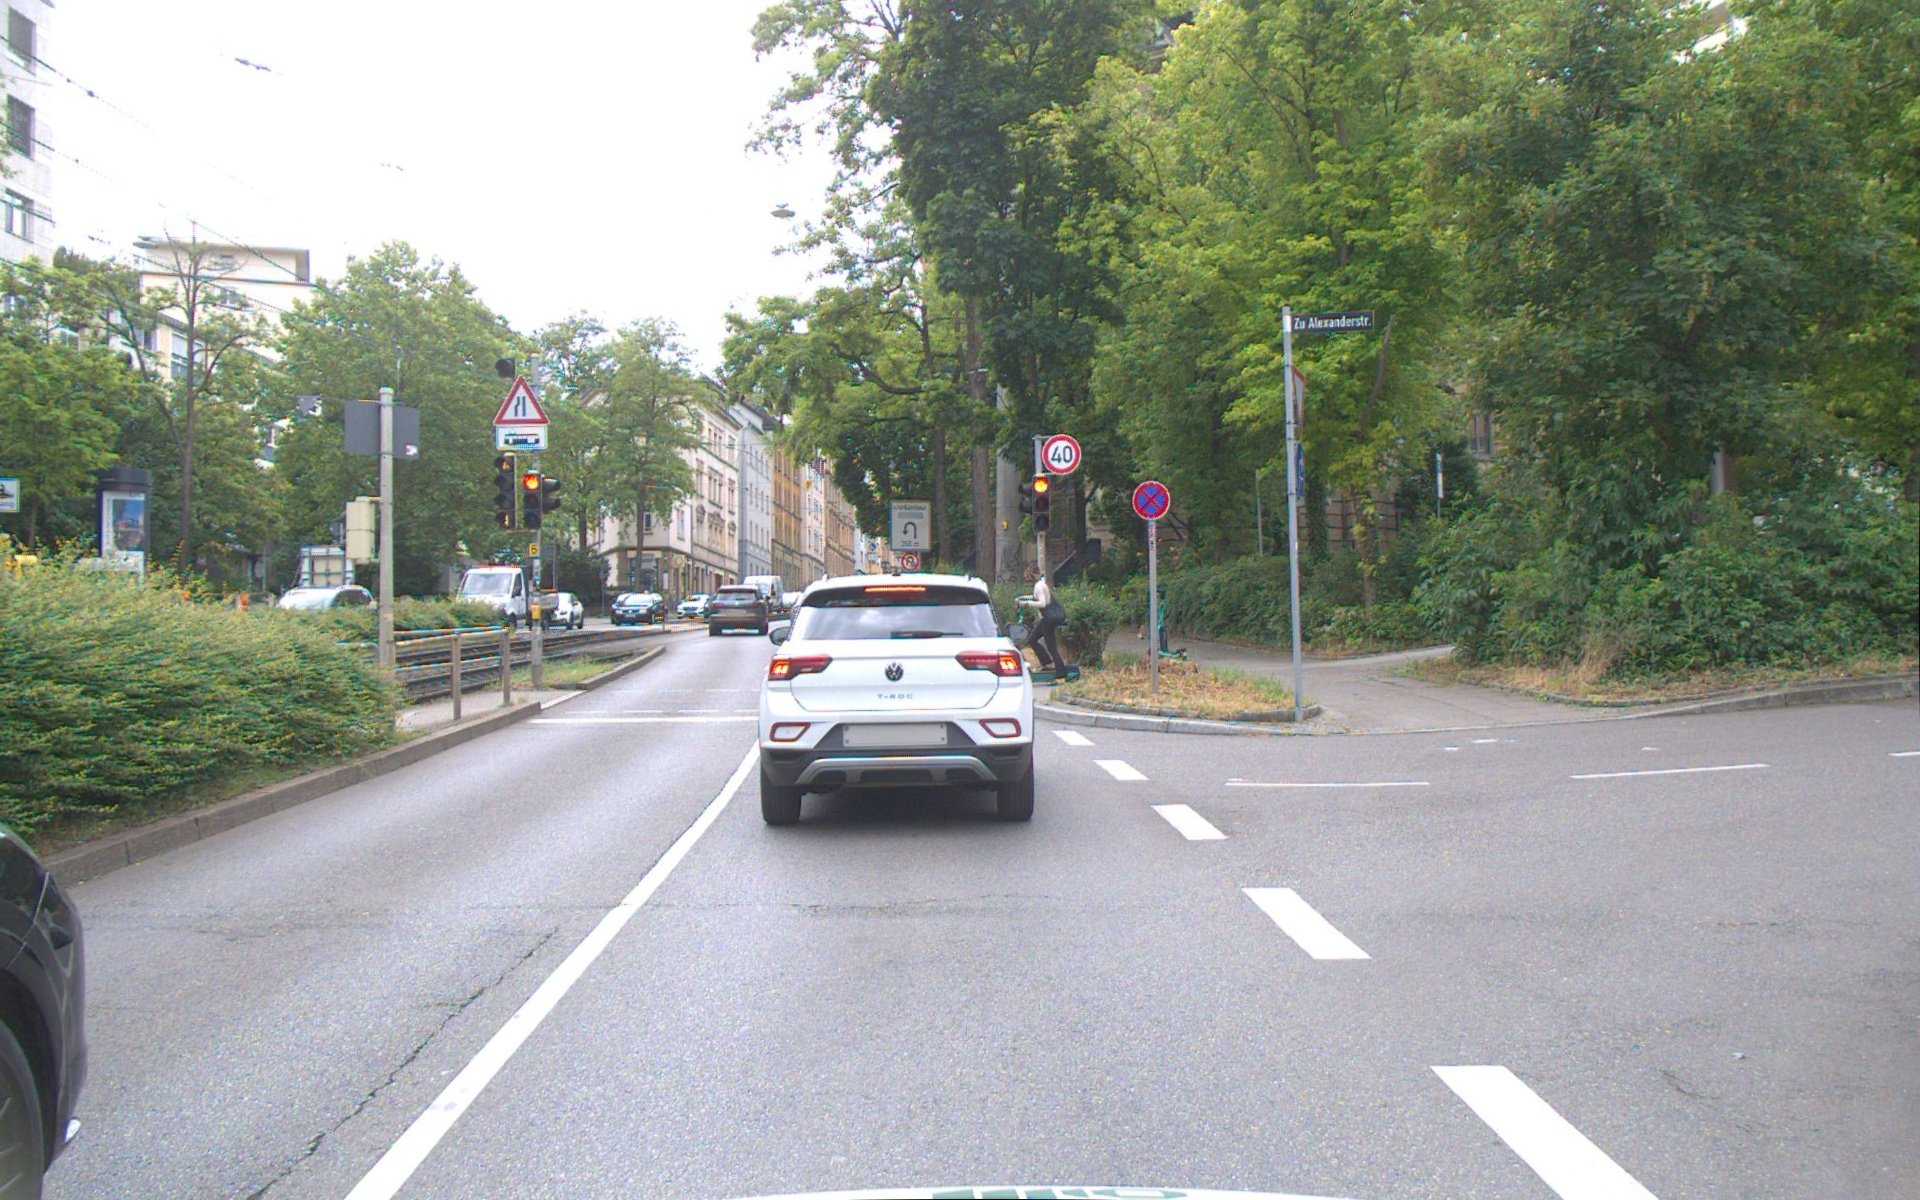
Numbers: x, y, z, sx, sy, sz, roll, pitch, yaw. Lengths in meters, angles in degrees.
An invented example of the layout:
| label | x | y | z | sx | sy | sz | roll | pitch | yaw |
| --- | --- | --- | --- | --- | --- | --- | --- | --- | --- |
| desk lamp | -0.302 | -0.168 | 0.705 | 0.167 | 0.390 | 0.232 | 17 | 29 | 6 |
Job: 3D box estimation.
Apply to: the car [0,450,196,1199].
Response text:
| label | x | y | z | sx | sy | sz | roll | pitch | yaw |
| --- | --- | --- | --- | --- | --- | --- | --- | --- | --- |
| car | -2.632 | 0.558 | 1.294 | 1.987 | 1.714 | 4.778 | 0 | -1 | -2 |

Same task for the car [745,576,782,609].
| label | x | y | z | sx | sy | sz | roll | pitch | yaw |
| --- | --- | --- | --- | --- | --- | --- | --- | --- | --- |
| car | -12.594 | -0.484 | 106.293 | 1.953 | 2.049 | 3.999 | -2 | 0 | -1 |

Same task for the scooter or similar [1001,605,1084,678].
| label | x | y | z | sx | sy | sz | roll | pitch | yaw |
| --- | --- | --- | --- | --- | --- | --- | --- | --- | --- |
| scooter or similar | 1.204 | 0.603 | 24.077 | 1.162 | 1.011 | 0.532 | -2 | 0 | 5 |

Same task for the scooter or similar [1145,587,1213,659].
| label | x | y | z | sx | sy | sz | roll | pitch | yaw |
| --- | --- | --- | --- | --- | --- | --- | --- | --- | --- |
| scooter or similar | 3.566 | 0.368 | 26.965 | 0.467 | 1.119 | 1.359 | -2 | 0 | -22 |

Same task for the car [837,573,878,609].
| label | x | y | z | sx | sy | sz | roll | pitch | yaw |
| --- | --- | --- | --- | --- | --- | --- | --- | --- | --- |
| car | -6.622 | -0.578 | 107.793 | 2.373 | 2.207 | 6.032 | -2 | 0 | -1 |

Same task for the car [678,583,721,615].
| label | x | y | z | sx | sy | sz | roll | pitch | yaw |
| --- | --- | --- | --- | --- | --- | --- | --- | --- | --- |
| car | -15.394 | -0.034 | 97.905 | 1.953 | 1.652 | 3.998 | 2 | -2 | -1 |

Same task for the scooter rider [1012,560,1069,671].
| label | x | y | z | sx | sy | sz | roll | pitch | yaw |
| --- | --- | --- | --- | --- | --- | --- | --- | --- | --- |
| scooter rider | 1.177 | 0.225 | 24.082 | 0.761 | 1.585 | 0.532 | -2 | 0 | 6 |

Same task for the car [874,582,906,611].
| label | x | y | z | sx | sy | sz | roll | pitch | yaw |
| --- | --- | --- | --- | --- | --- | --- | --- | --- | --- |
| car | -5.605 | -0.317 | 132.905 | 2.373 | 2.207 | 6.032 | -2 | 0 | -1 |

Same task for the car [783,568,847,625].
| label | x | y | z | sx | sy | sz | roll | pitch | yaw |
| --- | --- | --- | --- | --- | --- | --- | --- | --- | --- |
| car | -4.594 | -0.087 | 52.898 | 1.865 | 1.602 | 3.831 | 2 | -2 | -3 |

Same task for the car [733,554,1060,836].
| label | x | y | z | sx | sy | sz | roll | pitch | yaw |
| --- | --- | --- | --- | --- | --- | --- | --- | --- | --- |
| car | -0.410 | 0.499 | 11.697 | 1.899 | 1.593 | 4.046 | 0 | 2 | -1 |

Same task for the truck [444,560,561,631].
| label | x | y | z | sx | sy | sz | roll | pitch | yaw |
| --- | --- | --- | --- | --- | --- | --- | --- | --- | --- |
| truck | -15.622 | -0.087 | 56.886 | 2.373 | 2.207 | 6.031 | 2 | -1 | -1 |

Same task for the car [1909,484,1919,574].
| label | x | y | z | sx | sy | sz | roll | pitch | yaw |
| --- | --- | --- | --- | --- | --- | --- | --- | --- | --- |
| car | 23.835 | -1.660 | 37.078 | 4.053 | 2.049 | 1.996 | -1 | 0 | -9 |

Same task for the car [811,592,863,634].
| label | x | y | z | sx | sy | sz | roll | pitch | yaw |
| --- | --- | --- | --- | --- | --- | --- | --- | --- | --- |
| car | -5.301 | 0.589 | 71.729 | 1.953 | 1.652 | 3.998 | 2 | -2 | -1 |

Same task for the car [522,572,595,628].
| label | x | y | z | sx | sy | sz | roll | pitch | yaw |
| --- | --- | --- | --- | --- | --- | --- | --- | --- | --- |
| car | -16.137 | 0.037 | 66.674 | 1.953 | 2.049 | 3.998 | 2 | -2 | -1 |

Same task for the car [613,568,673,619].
| label | x | y | z | sx | sy | sz | roll | pitch | yaw |
| --- | --- | --- | --- | --- | --- | --- | --- | --- | --- |
| car | -14.265 | -0.265 | 74.629 | 1.953 | 2.049 | 3.998 | 2 | -2 | -1 |

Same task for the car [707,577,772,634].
| label | x | y | z | sx | sy | sz | roll | pitch | yaw |
| --- | --- | --- | --- | --- | --- | --- | --- | --- | --- |
| car | -7.460 | 0.162 | 56.265 | 1.803 | 1.770 | 3.998 | -2 | 1 | -3 |
